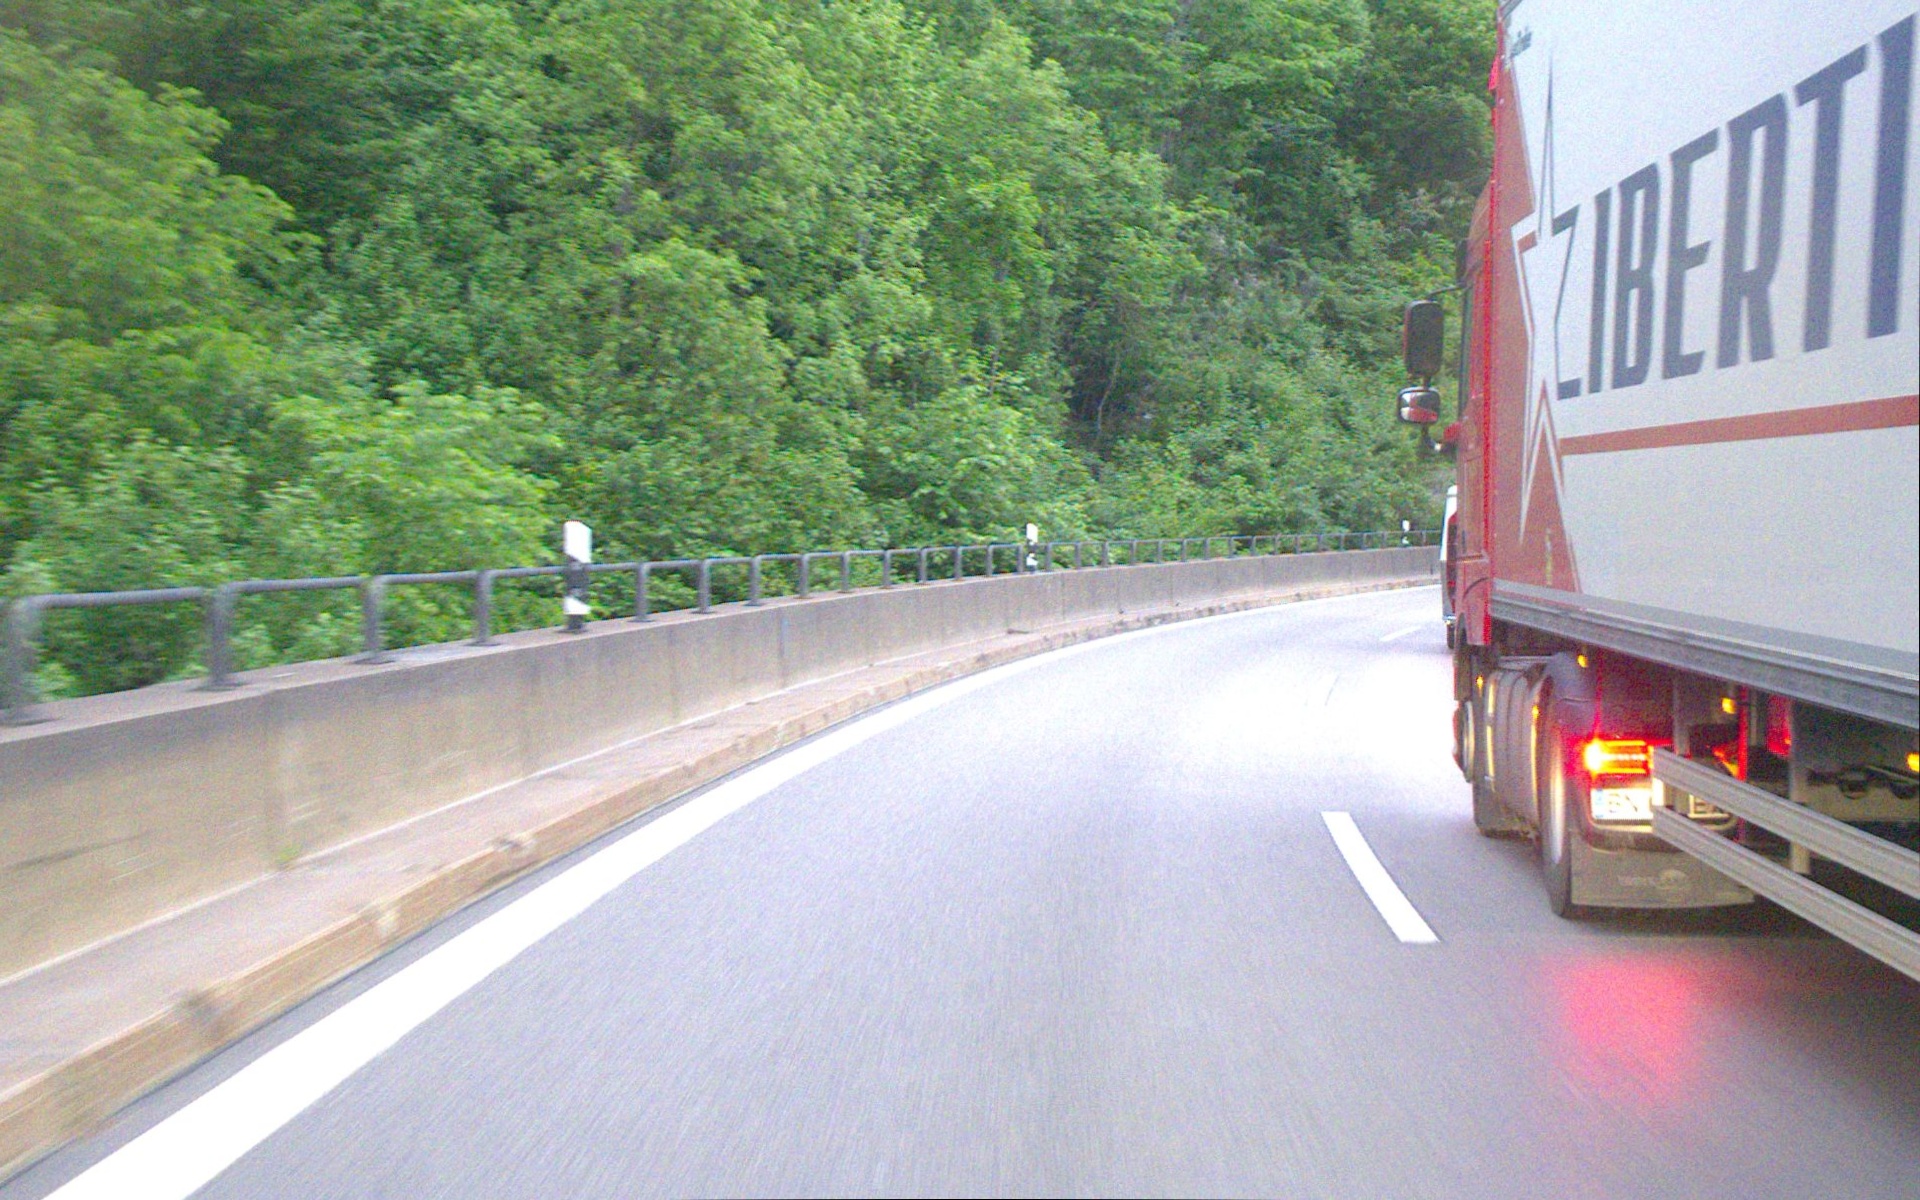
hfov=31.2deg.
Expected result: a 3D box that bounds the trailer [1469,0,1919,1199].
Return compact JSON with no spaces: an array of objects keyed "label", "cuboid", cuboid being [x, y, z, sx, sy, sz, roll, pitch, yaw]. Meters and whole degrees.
[{"label":"trailer","cuboid":[3.724,-0.616,9.409,3.097,3.956,14.218,0,1,2]}]

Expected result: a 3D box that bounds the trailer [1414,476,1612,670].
[{"label":"trailer","cuboid":[7.292,-0.440,45.861,2.055,2.366,5.937,1,2,4]}]

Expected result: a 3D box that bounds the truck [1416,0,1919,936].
[{"label":"truck","cuboid":[4.036,-0.811,16.305,3.069,4.130,6.446,1,1,2]}]
